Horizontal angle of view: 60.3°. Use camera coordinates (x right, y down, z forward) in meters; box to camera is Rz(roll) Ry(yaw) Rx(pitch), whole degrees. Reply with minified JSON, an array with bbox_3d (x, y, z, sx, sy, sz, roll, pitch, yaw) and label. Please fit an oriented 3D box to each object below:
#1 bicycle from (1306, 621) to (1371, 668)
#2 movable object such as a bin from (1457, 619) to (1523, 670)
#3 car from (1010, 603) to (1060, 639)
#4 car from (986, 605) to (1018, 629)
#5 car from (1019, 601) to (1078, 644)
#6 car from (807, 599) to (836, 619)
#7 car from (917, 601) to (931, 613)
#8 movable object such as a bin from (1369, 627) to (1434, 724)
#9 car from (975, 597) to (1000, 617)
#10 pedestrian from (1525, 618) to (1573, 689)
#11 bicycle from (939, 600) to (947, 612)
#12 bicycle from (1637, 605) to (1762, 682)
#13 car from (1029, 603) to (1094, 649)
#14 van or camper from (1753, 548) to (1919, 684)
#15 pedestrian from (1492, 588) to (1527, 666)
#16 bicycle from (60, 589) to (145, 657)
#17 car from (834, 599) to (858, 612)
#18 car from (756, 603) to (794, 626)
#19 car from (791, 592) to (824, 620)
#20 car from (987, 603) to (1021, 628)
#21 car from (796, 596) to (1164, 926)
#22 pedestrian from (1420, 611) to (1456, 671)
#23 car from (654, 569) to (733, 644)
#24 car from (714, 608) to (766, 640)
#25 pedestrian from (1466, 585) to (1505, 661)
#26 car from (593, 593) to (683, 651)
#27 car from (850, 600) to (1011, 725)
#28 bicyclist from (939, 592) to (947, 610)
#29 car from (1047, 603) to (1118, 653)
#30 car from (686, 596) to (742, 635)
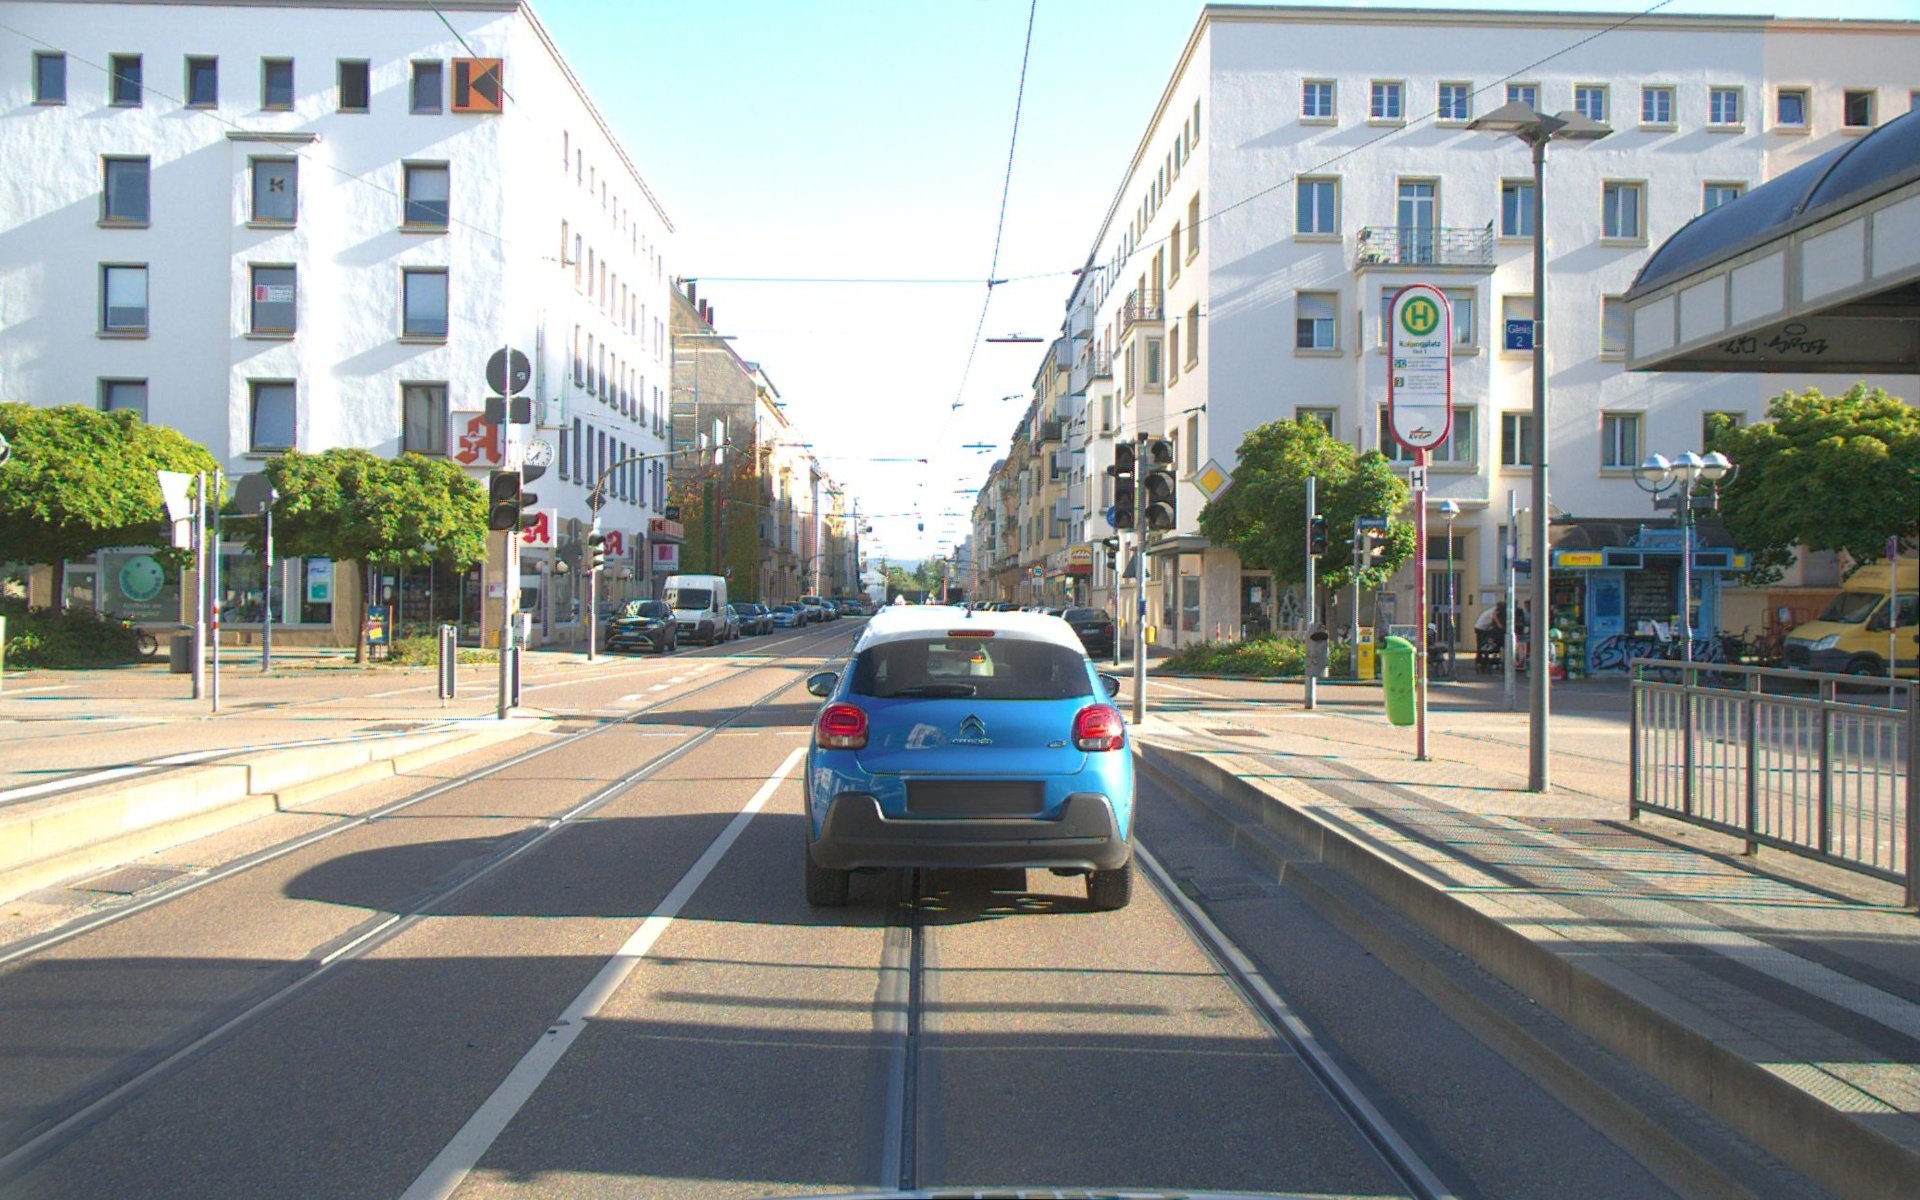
[{"bbox_3d":[9.424,1.100,41.206,1.534,1.140,0.300,1,-1,10],"label":"bicycle"},{"bbox_3d":[12.445,1.036,38.890,1.174,1.173,1.217,0,0,0],"label":"movable object such as a bin"},{"bbox_3d":[3.214,0.899,71.422,1.953,1.490,4.000,0,0,0],"label":"car"},{"bbox_3d":[2.637,1.053,104.952,1.953,1.490,4.000,0,0,0],"label":"car"},{"bbox_3d":[3.235,0.817,61.367,1.953,1.527,4.000,0,0,0],"label":"car"},{"bbox_3d":[-11.265,0.771,134.901,1.914,1.579,3.939,1,-1,1],"label":"car"},{"bbox_3d":[-5.284,0.991,244.039,1.953,1.803,3.999,0,0,-1],"label":"car"},{"bbox_3d":[3.756,0.633,14.091,0.439,0.800,0.489,0,0,2],"label":"movable object such as a bin"},{"bbox_3d":[2.162,0.554,131.749,1.953,1.490,4.000,0,0,0],"label":"car"},{"bbox_3d":[12.396,1.118,34.816,0.715,1.434,0.755,0,3,-1],"label":"pedestrian"},{"bbox_3d":[-1.920,0.716,190.180,0.901,1.413,3.131,0,0,-1],"label":"bicycle"},{"bbox_3d":[15.891,0.936,35.554,2.336,1.558,0.726,2,0,-2],"label":"bicycle"},{"bbox_3d":[3.411,0.850,56.133,1.953,1.490,4.000,0,0,0],"label":"car"},{"bbox_3d":[20.983,0.307,35.305,6.976,2.795,2.371,0,1,0],"label":"van or camper"},{"bbox_3d":[13.307,0.651,40.067,0.639,1.871,0.659,0,0,2],"label":"pedestrian"},{"bbox_3d":[-21.337,0.560,41.228,0.605,1.635,2.621,0,0,3],"label":"bicycle"},{"bbox_3d":[-10.533,0.506,152.546,1.953,1.176,4.000,0,0,0],"label":"car"},{"bbox_3d":[-11.336,0.868,101.629,1.953,1.348,3.921,1,-1,-2],"label":"car"},{"bbox_3d":[-11.507,0.464,125.224,1.965,2.049,4.689,1,-1,1],"label":"car"},{"bbox_3d":[2.646,0.941,100.501,1.953,1.490,4.504,0,0,0],"label":"car"},{"bbox_3d":[0.064,0.758,9.651,1.693,1.508,3.826,1,0,-1],"label":"car"},{"bbox_3d":[10.910,0.922,37.721,0.725,1.339,0.628,0,0,22],"label":"pedestrian"},{"bbox_3d":[-9.753,0.226,61.070,2.043,2.586,6.203,1,0,-2],"label":"car"},{"bbox_3d":[-10.135,1.095,76.422,1.953,1.422,4.155,1,-1,-2],"label":"car"},{"bbox_3d":[13.073,0.564,41.152,0.768,1.871,0.678,0,0,2],"label":"pedestrian"},{"bbox_3d":[-9.799,0.676,50.706,1.954,1.596,4.401,3,-1,-2],"label":"car"},{"bbox_3d":[-0.404,0.763,22.644,1.944,1.490,4.814,1,0,-1],"label":"car"},{"bbox_3d":[-1.946,0.129,190.049,0.793,2.049,0.922,1,-1,-1],"label":"bicyclist"},{"bbox_3d":[3.721,0.827,50.924,1.870,1.490,4.000,0,0,0],"label":"car"},{"bbox_3d":[-10.067,0.638,67.810,1.850,1.522,3.560,1,-1,-2],"label":"car"}]
